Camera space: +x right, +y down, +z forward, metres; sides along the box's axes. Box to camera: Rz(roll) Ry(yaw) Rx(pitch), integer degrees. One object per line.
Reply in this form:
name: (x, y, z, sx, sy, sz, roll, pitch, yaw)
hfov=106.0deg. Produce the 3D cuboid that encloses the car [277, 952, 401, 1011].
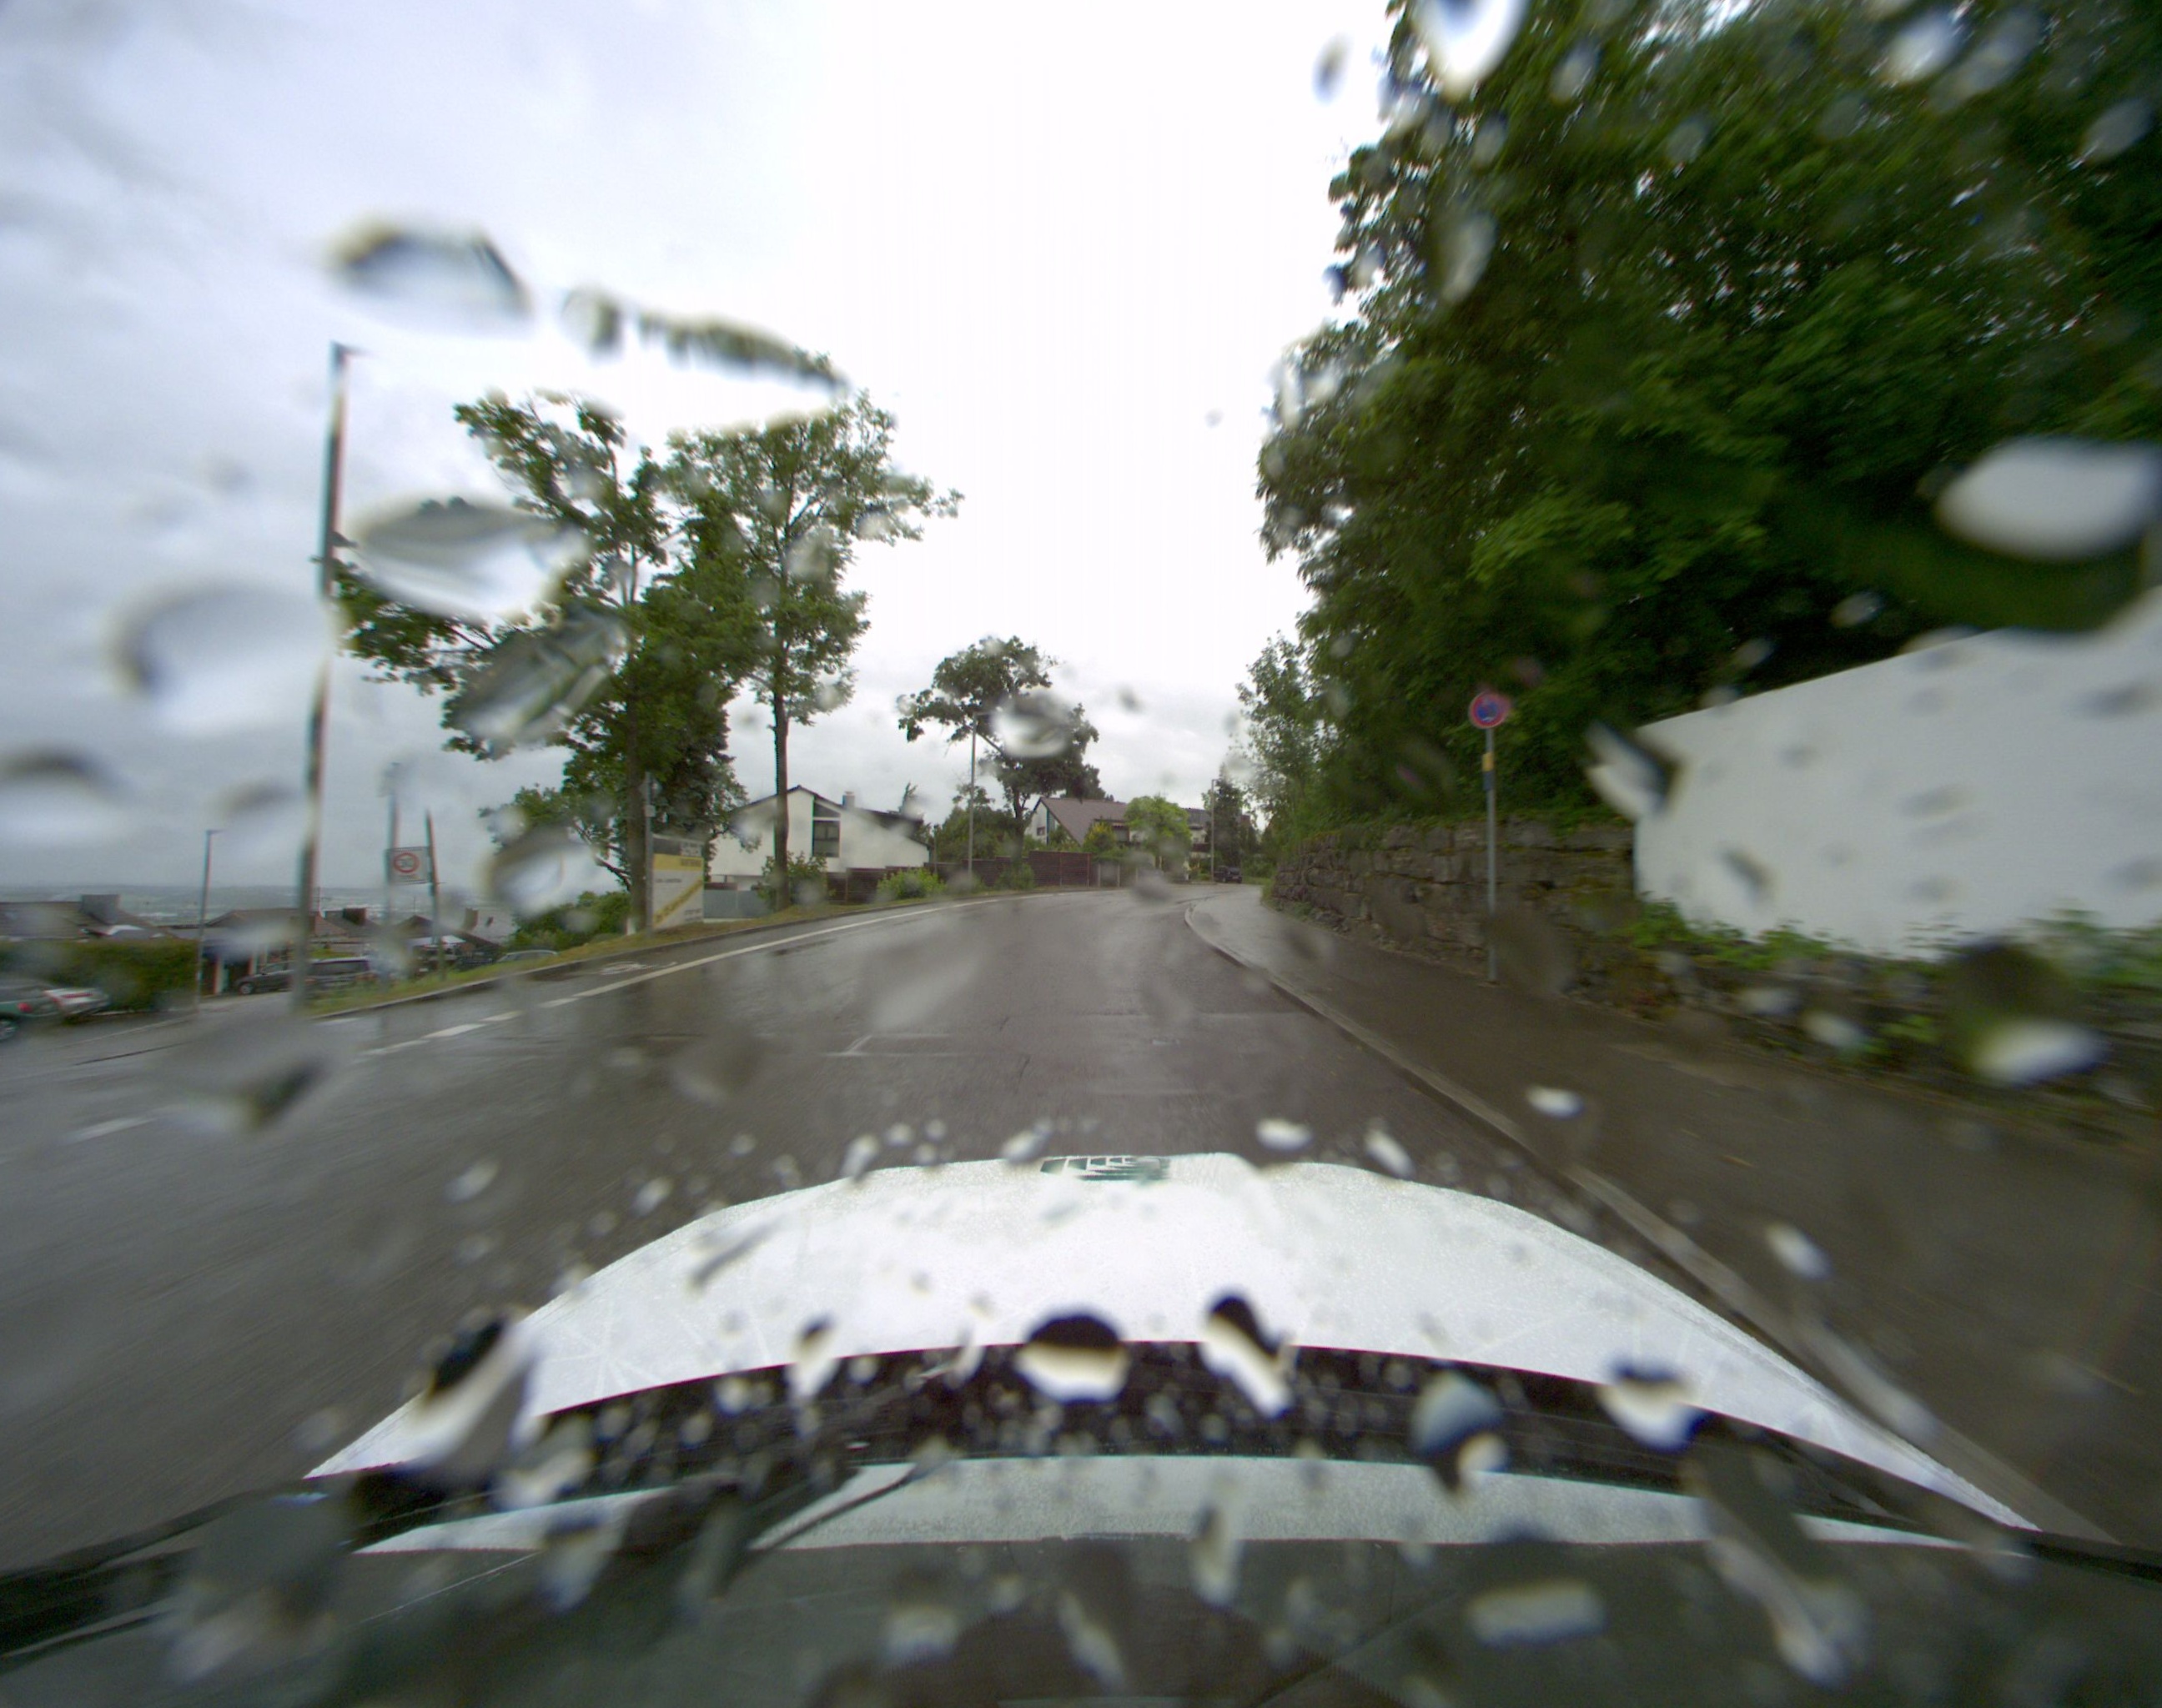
car: (-22.020, 3.727, 24.348, 1.890, 1.416, 3.960, -2, -5, -30)

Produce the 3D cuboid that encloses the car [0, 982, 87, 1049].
car: (-29.629, 4.404, 21.380, 4.009, 1.416, 1.868, -2, 1, -27)

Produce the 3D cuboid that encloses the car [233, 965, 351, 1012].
car: (-40.977, 6.969, 42.377, 3.984, 1.637, 1.799, -7, 0, -7)

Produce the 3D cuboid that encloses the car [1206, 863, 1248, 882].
car: (12.462, 1.565, 69.645, 1.939, 1.389, 3.977, 3, -1, -17)

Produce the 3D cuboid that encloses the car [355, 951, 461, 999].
car: (-23.770, 4.283, 28.949, 2.170, 1.351, 4.237, -2, -6, -30)

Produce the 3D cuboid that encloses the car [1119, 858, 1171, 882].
car: (4.884, 1.217, 62.781, 2.020, 1.631, 3.962, 3, 0, -30)

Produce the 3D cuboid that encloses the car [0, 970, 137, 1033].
car: (-31.239, 4.426, 23.999, 4.009, 1.357, 1.868, -2, 1, -27)

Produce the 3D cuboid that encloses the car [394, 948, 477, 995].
car: (-33.206, 5.995, 42.023, 1.999, 2.014, 3.975, -3, -4, -17)
